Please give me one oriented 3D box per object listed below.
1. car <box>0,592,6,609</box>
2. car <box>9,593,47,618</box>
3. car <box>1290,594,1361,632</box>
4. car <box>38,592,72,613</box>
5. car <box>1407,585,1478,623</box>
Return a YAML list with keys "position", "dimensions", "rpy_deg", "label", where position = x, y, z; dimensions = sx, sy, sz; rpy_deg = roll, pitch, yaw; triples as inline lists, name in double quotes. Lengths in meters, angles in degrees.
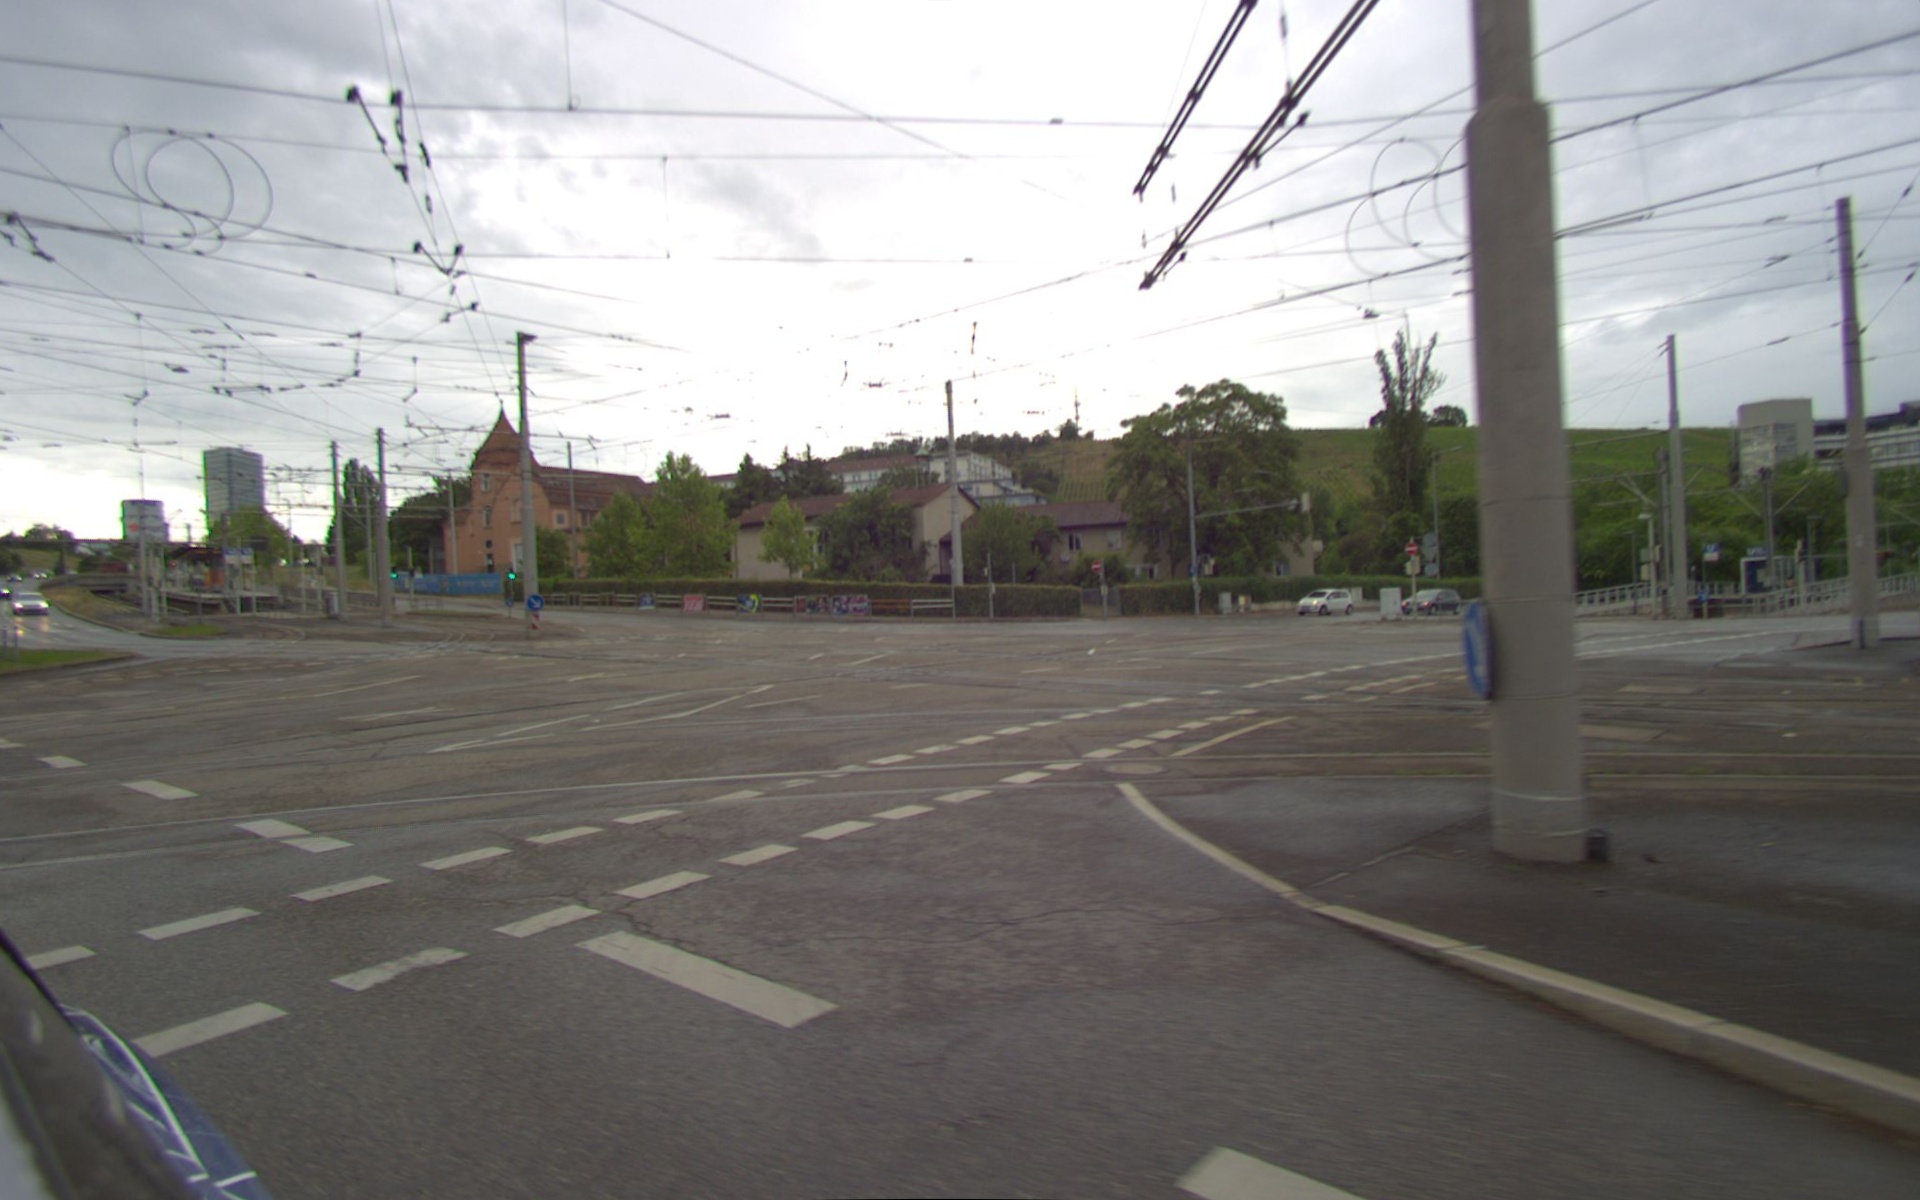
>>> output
- position: [-88.821, 0.044, 92.737]
  dimensions: [4.001, 1.482, 1.777]
  rpy_deg: [-1, 0, 44]
  label: "car"
- position: [-62.192, 0.381, 67.577]
  dimensions: [1.713, 1.599, 4.006]
  rpy_deg: [-2, 1, -41]
  label: "car"
- position: [21.016, 0.702, 58.205]
  dimensions: [3.935, 2.029, 2.005]
  rpy_deg: [-2, 1, -36]
  label: "car"
- position: [-81.175, 0.217, 90.742]
  dimensions: [3.997, 1.523, 1.779]
  rpy_deg: [-5, -2, 41]
  label: "car"
- position: [27.434, 0.185, 57.516]
  dimensions: [3.935, 2.029, 2.005]
  rpy_deg: [-2, 1, -36]
  label: "car"
